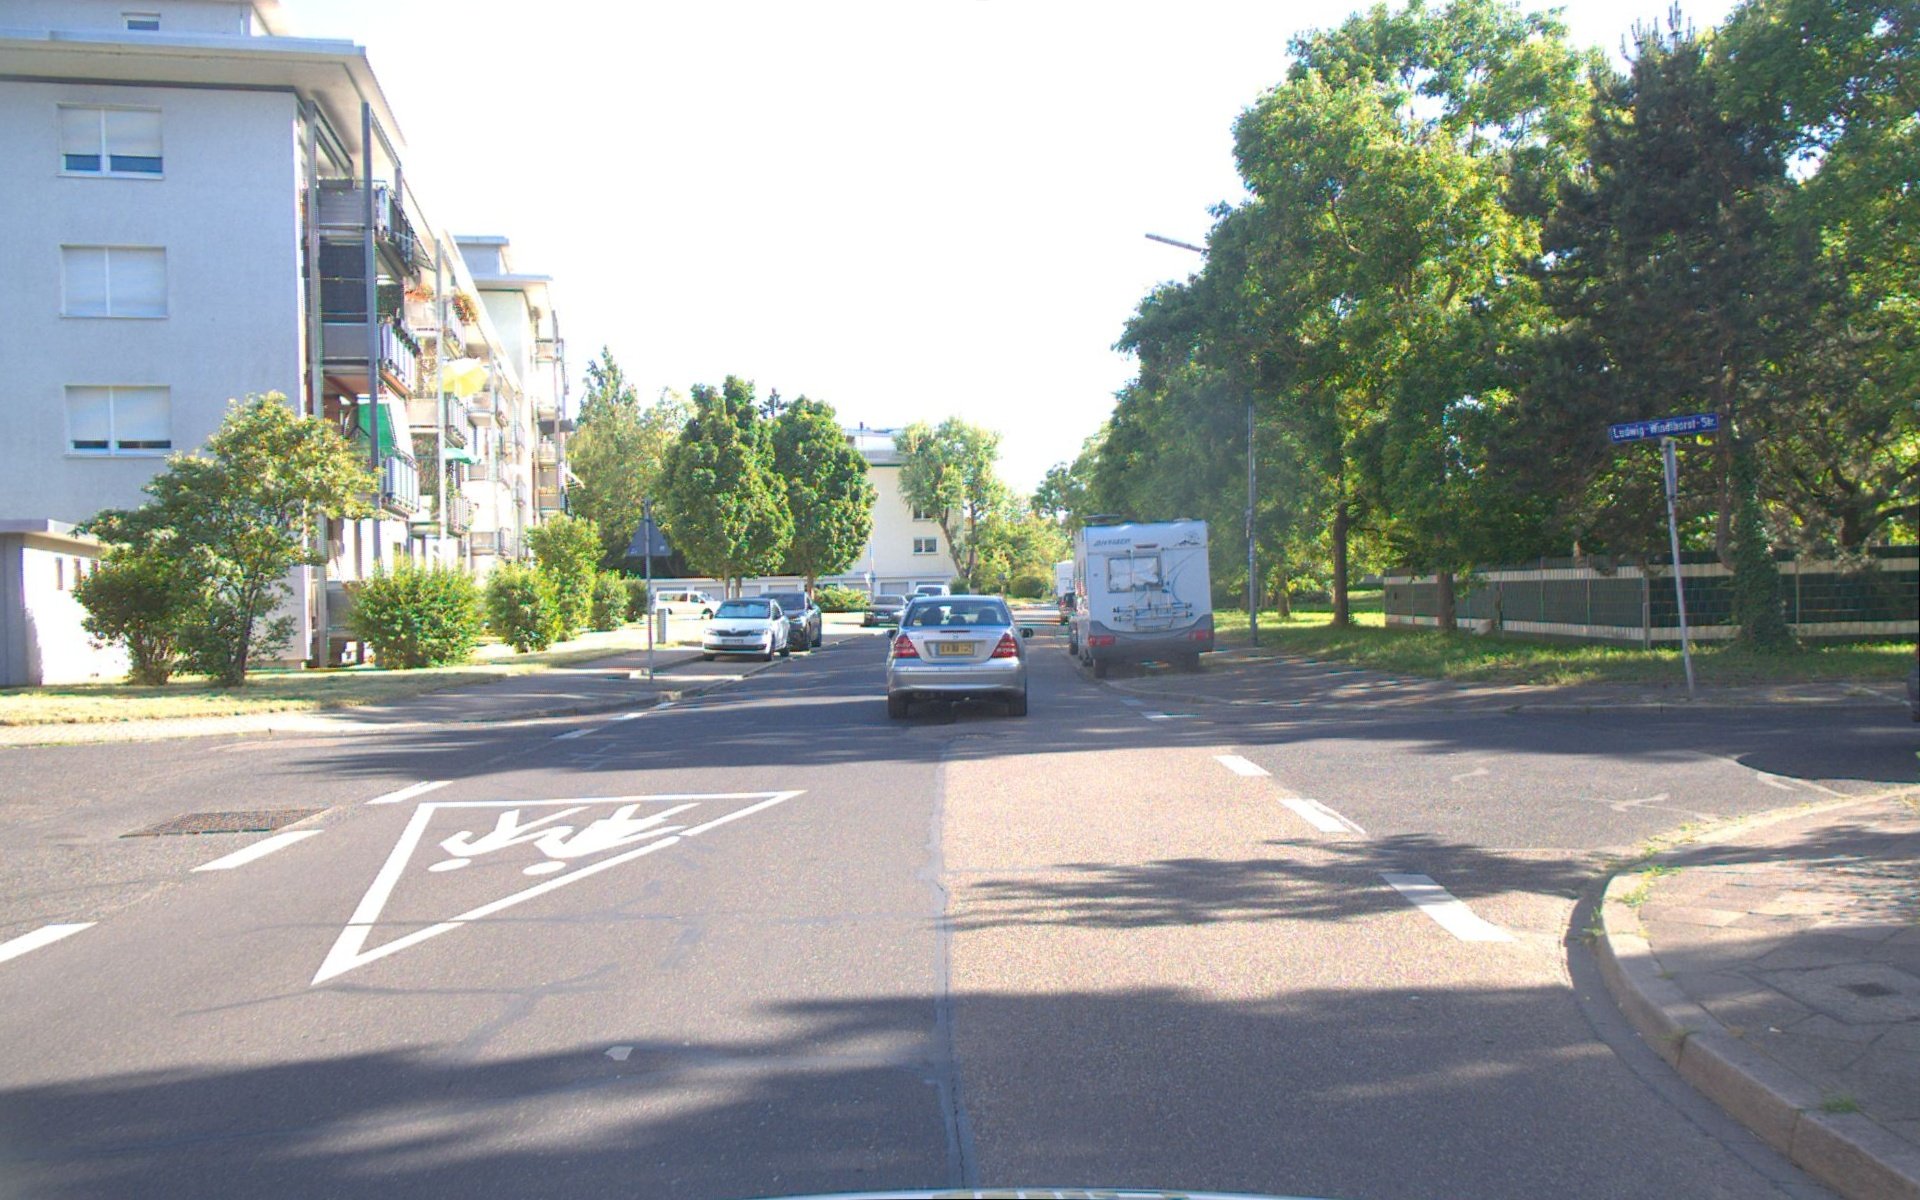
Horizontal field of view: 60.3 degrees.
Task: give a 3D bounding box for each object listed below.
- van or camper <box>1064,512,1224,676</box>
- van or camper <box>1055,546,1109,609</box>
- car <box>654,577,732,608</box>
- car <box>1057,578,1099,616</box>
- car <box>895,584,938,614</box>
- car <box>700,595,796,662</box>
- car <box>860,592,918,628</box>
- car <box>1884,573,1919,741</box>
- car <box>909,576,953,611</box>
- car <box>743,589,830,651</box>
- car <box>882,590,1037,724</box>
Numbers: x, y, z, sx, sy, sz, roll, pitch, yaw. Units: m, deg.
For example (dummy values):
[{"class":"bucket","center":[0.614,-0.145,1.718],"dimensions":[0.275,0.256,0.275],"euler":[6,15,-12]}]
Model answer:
[{"class":"van or camper","center":[3.366,-0.138,31.673],"dimensions":[2.303,2.641,6.427],"euler":[-4,1,1]},{"class":"van or camper","center":[6.017,-1.110,81.733],"dimensions":[2.444,2.894,6.855],"euler":[-2,1,4]},{"class":"car","center":[-19.148,-0.539,118.854],"dimensions":[4.996,1.985,2.239],"euler":[-2,0,12]},{"class":"car","center":[5.289,-0.171,74.658],"dimensions":[1.685,1.550,4.430],"euler":[-5,1,3]},{"class":"car","center":[-2.315,-0.052,88.553],"dimensions":[1.794,1.544,4.224],"euler":[0,0,5]},{"class":"car","center":[-5.108,0.654,40.389],"dimensions":[1.612,1.492,4.332],"euler":[-1,1,2]},{"class":"car","center":[-3.210,0.422,75.436],"dimensions":[1.992,1.519,5.259],"euler":[-2,0,4]},{"class":"car","center":[10.013,0.457,13.152],"dimensions":[4.332,1.360,1.747],"euler":[-1,2,4]},{"class":"car","center":[-1.645,-0.378,95.084],"dimensions":[1.971,1.918,5.194],"euler":[0,0,6]},{"class":"car","center":[-4.879,0.528,47.053],"dimensions":[1.875,1.632,4.812],"euler":[-2,0,1]},{"class":"car","center":[0.049,0.652,20.350],"dimensions":[1.697,1.459,3.439],"euler":[-2,0,2]}]
